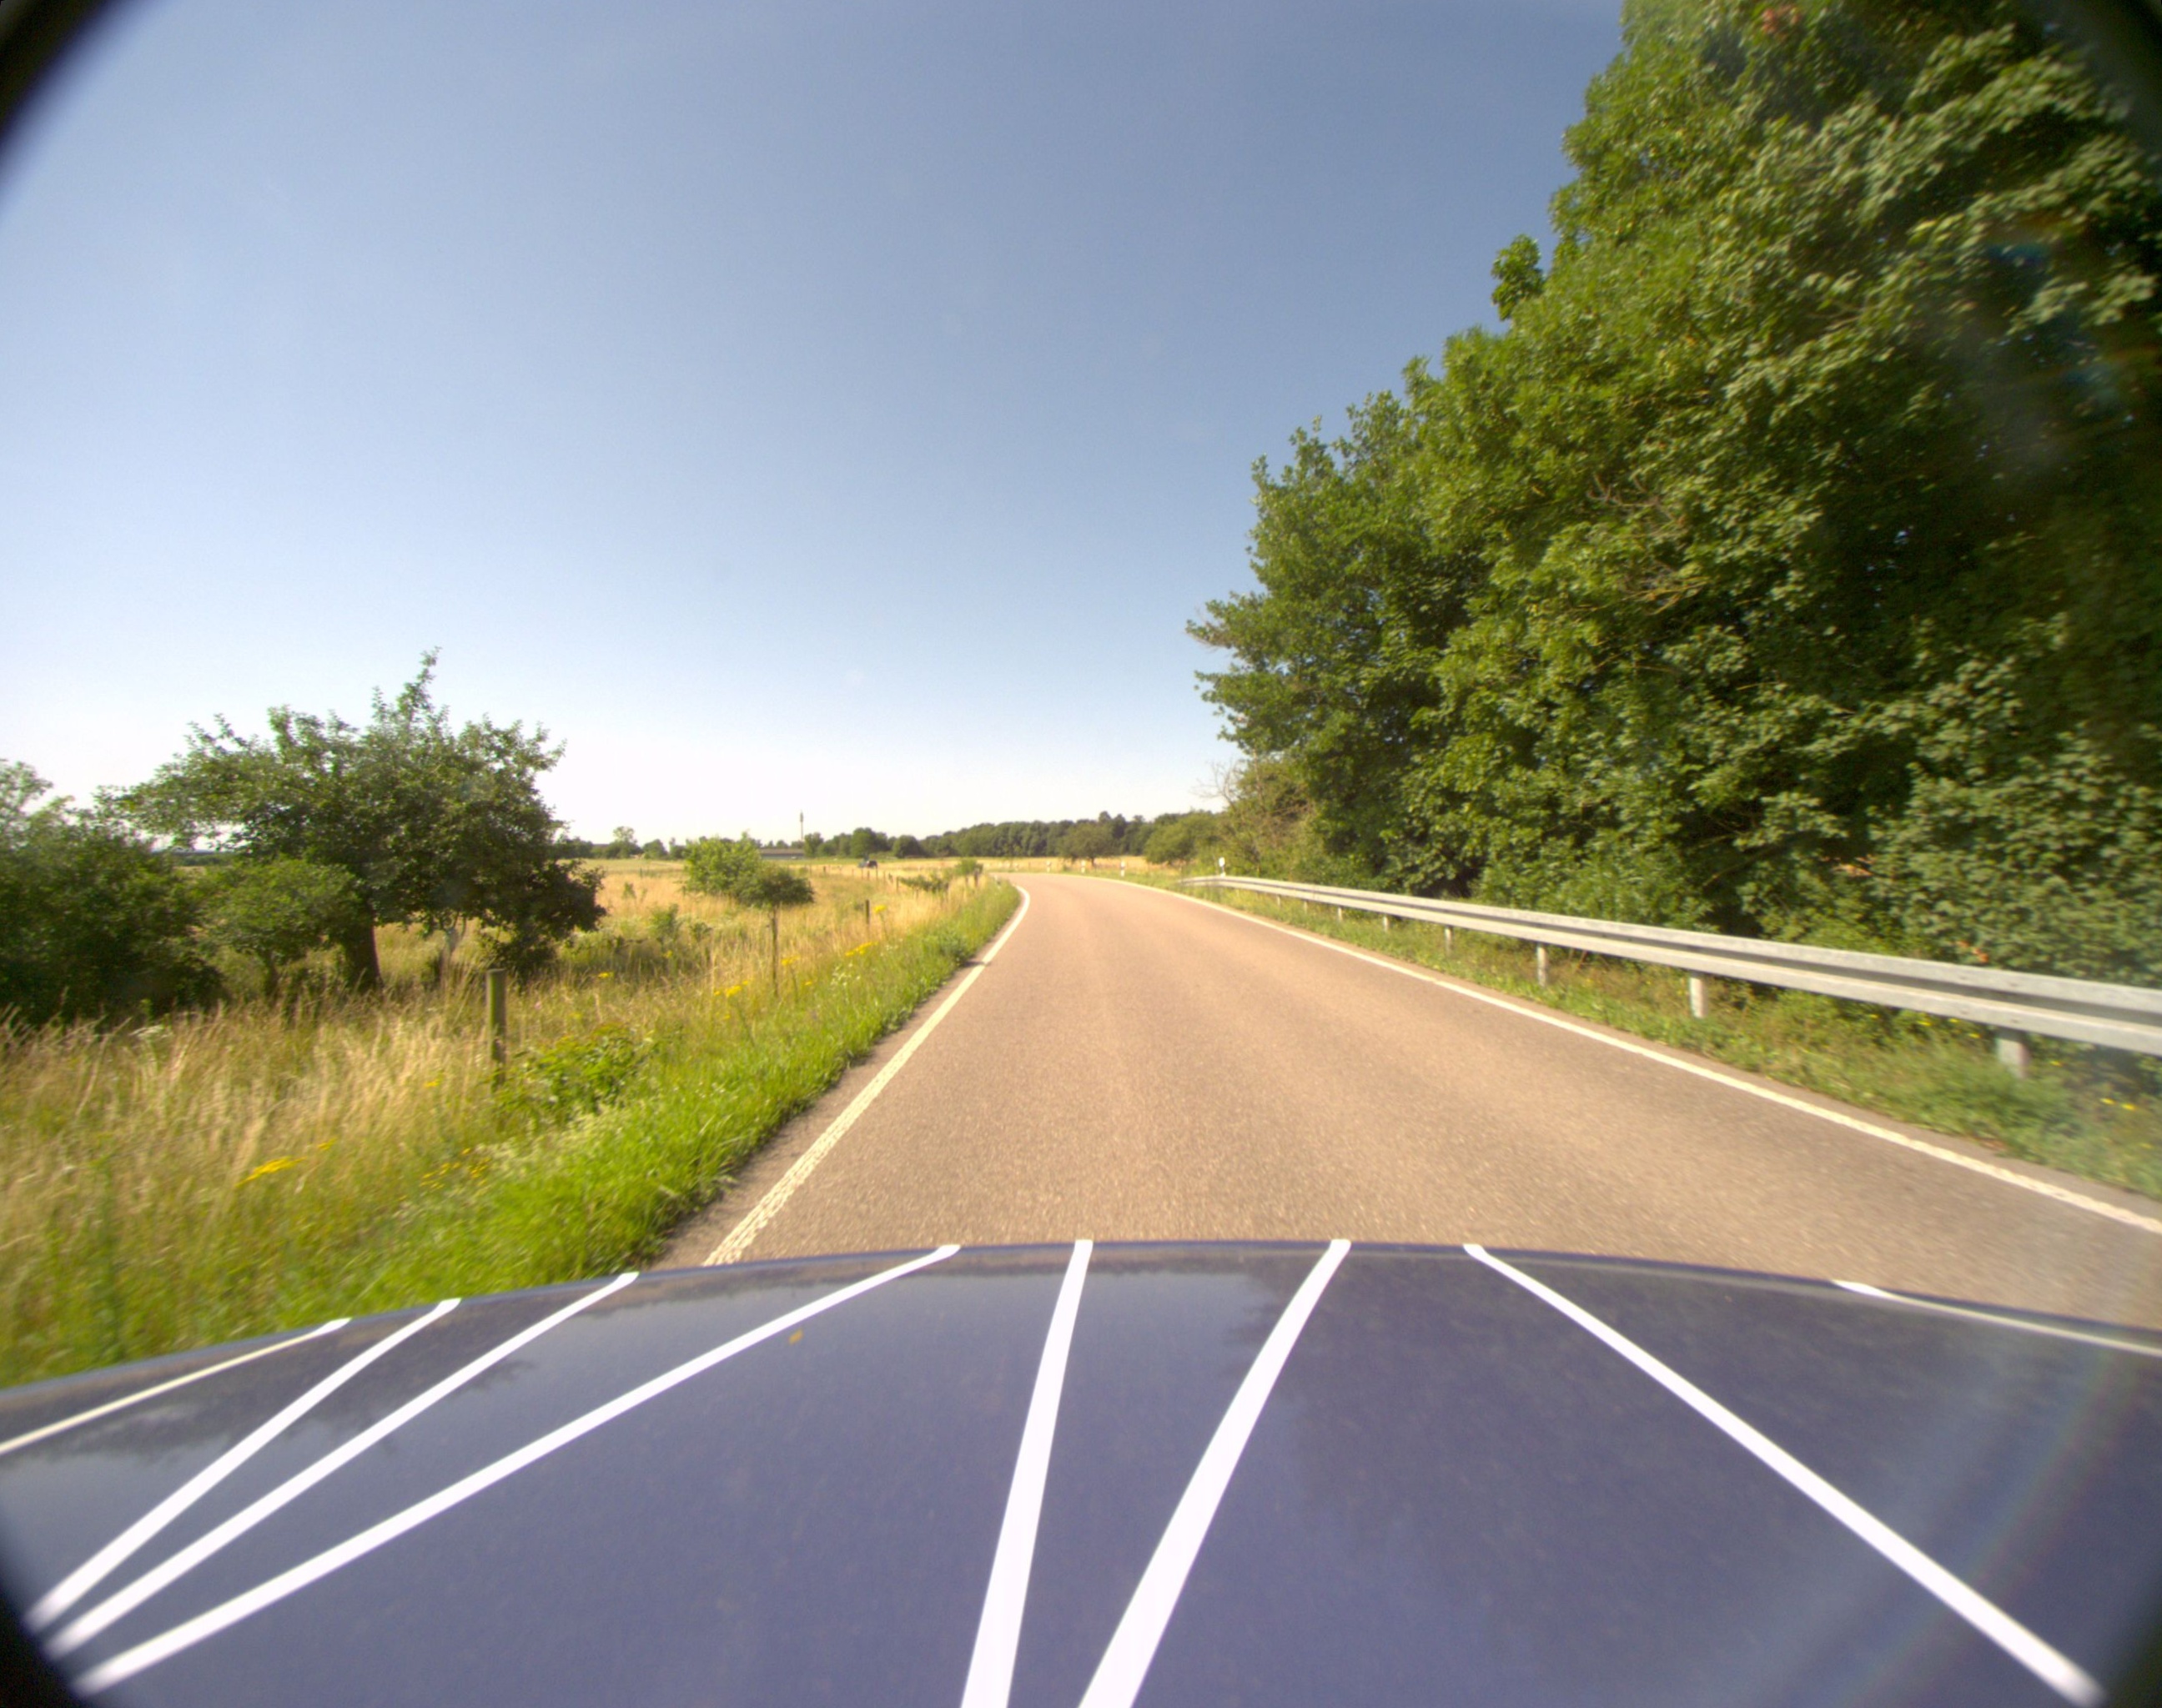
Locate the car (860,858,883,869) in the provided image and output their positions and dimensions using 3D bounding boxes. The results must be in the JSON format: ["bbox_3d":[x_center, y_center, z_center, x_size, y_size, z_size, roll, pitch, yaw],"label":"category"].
[{"bbox_3d":[-31.248,1.444,113.191,1.793,1.622,4.150,1,-2,-38],"label":"car"}]
